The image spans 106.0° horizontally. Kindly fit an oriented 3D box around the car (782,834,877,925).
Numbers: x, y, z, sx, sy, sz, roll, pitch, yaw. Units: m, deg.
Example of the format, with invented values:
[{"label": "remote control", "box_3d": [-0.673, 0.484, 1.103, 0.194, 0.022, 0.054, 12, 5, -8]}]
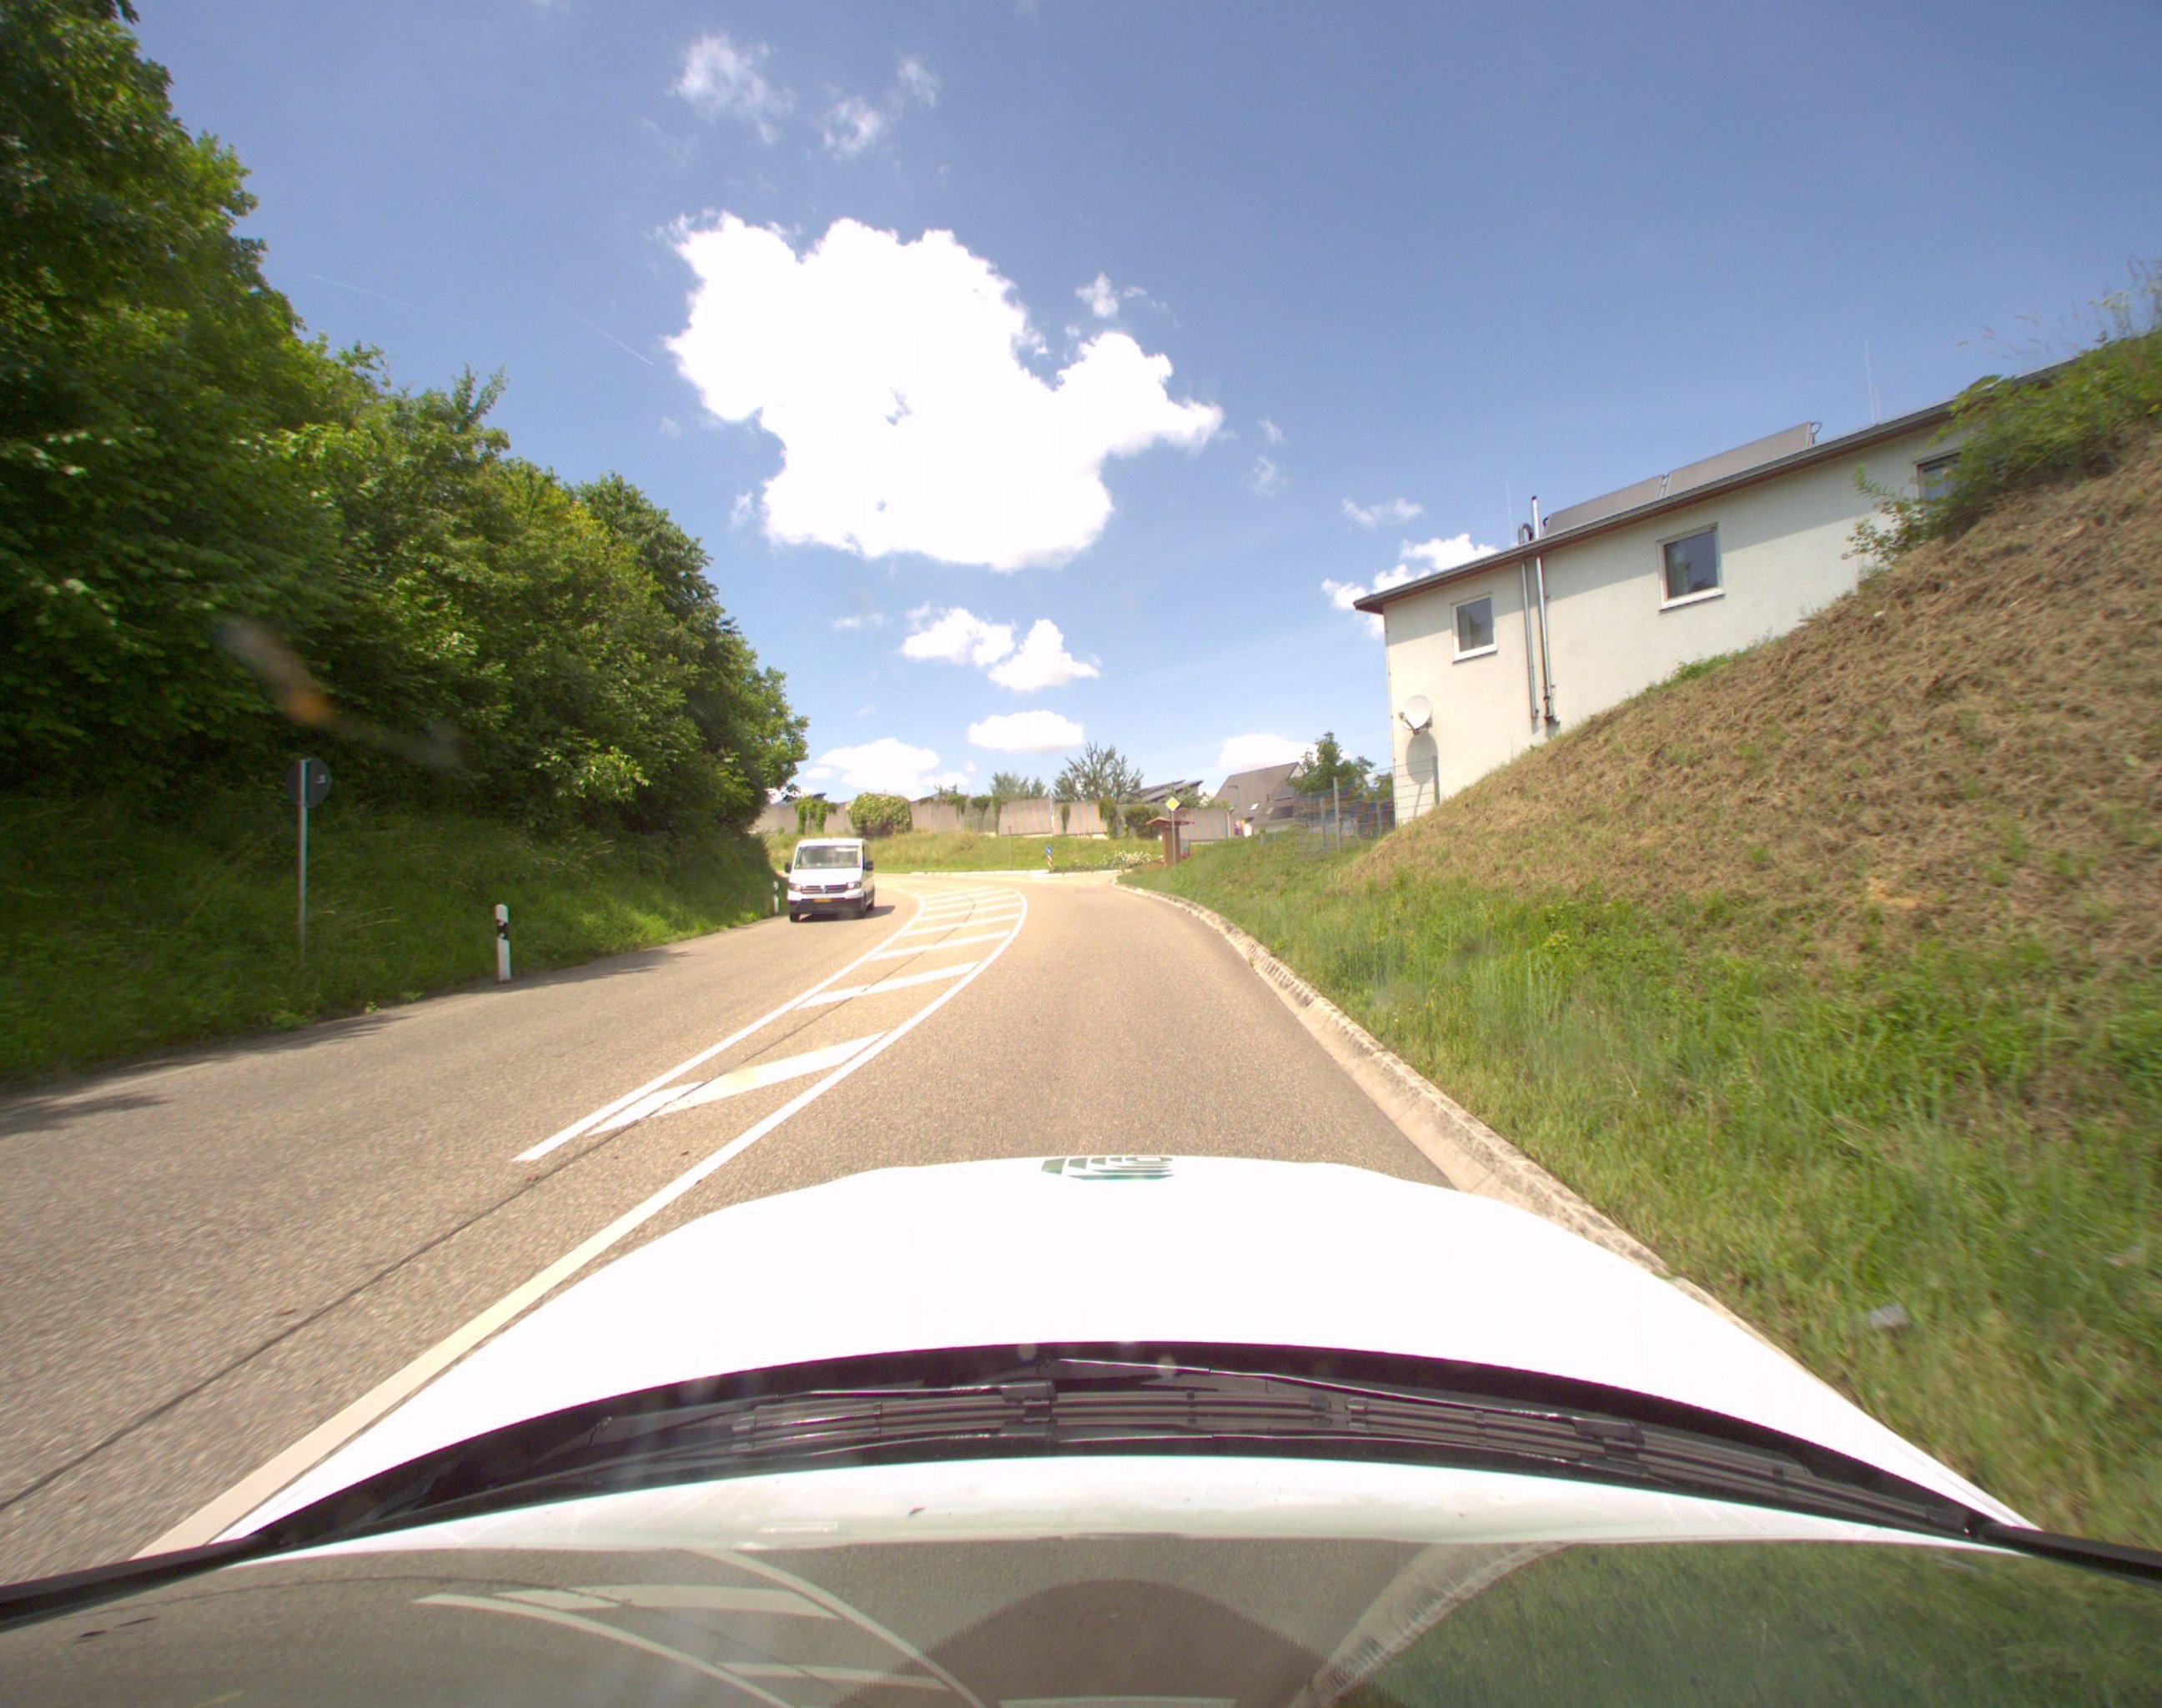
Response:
[{"label": "car", "box_3d": [-7.306, 0.715, 24.232, 2.087, 2.290, 5.921, -2, -1, -12]}]
